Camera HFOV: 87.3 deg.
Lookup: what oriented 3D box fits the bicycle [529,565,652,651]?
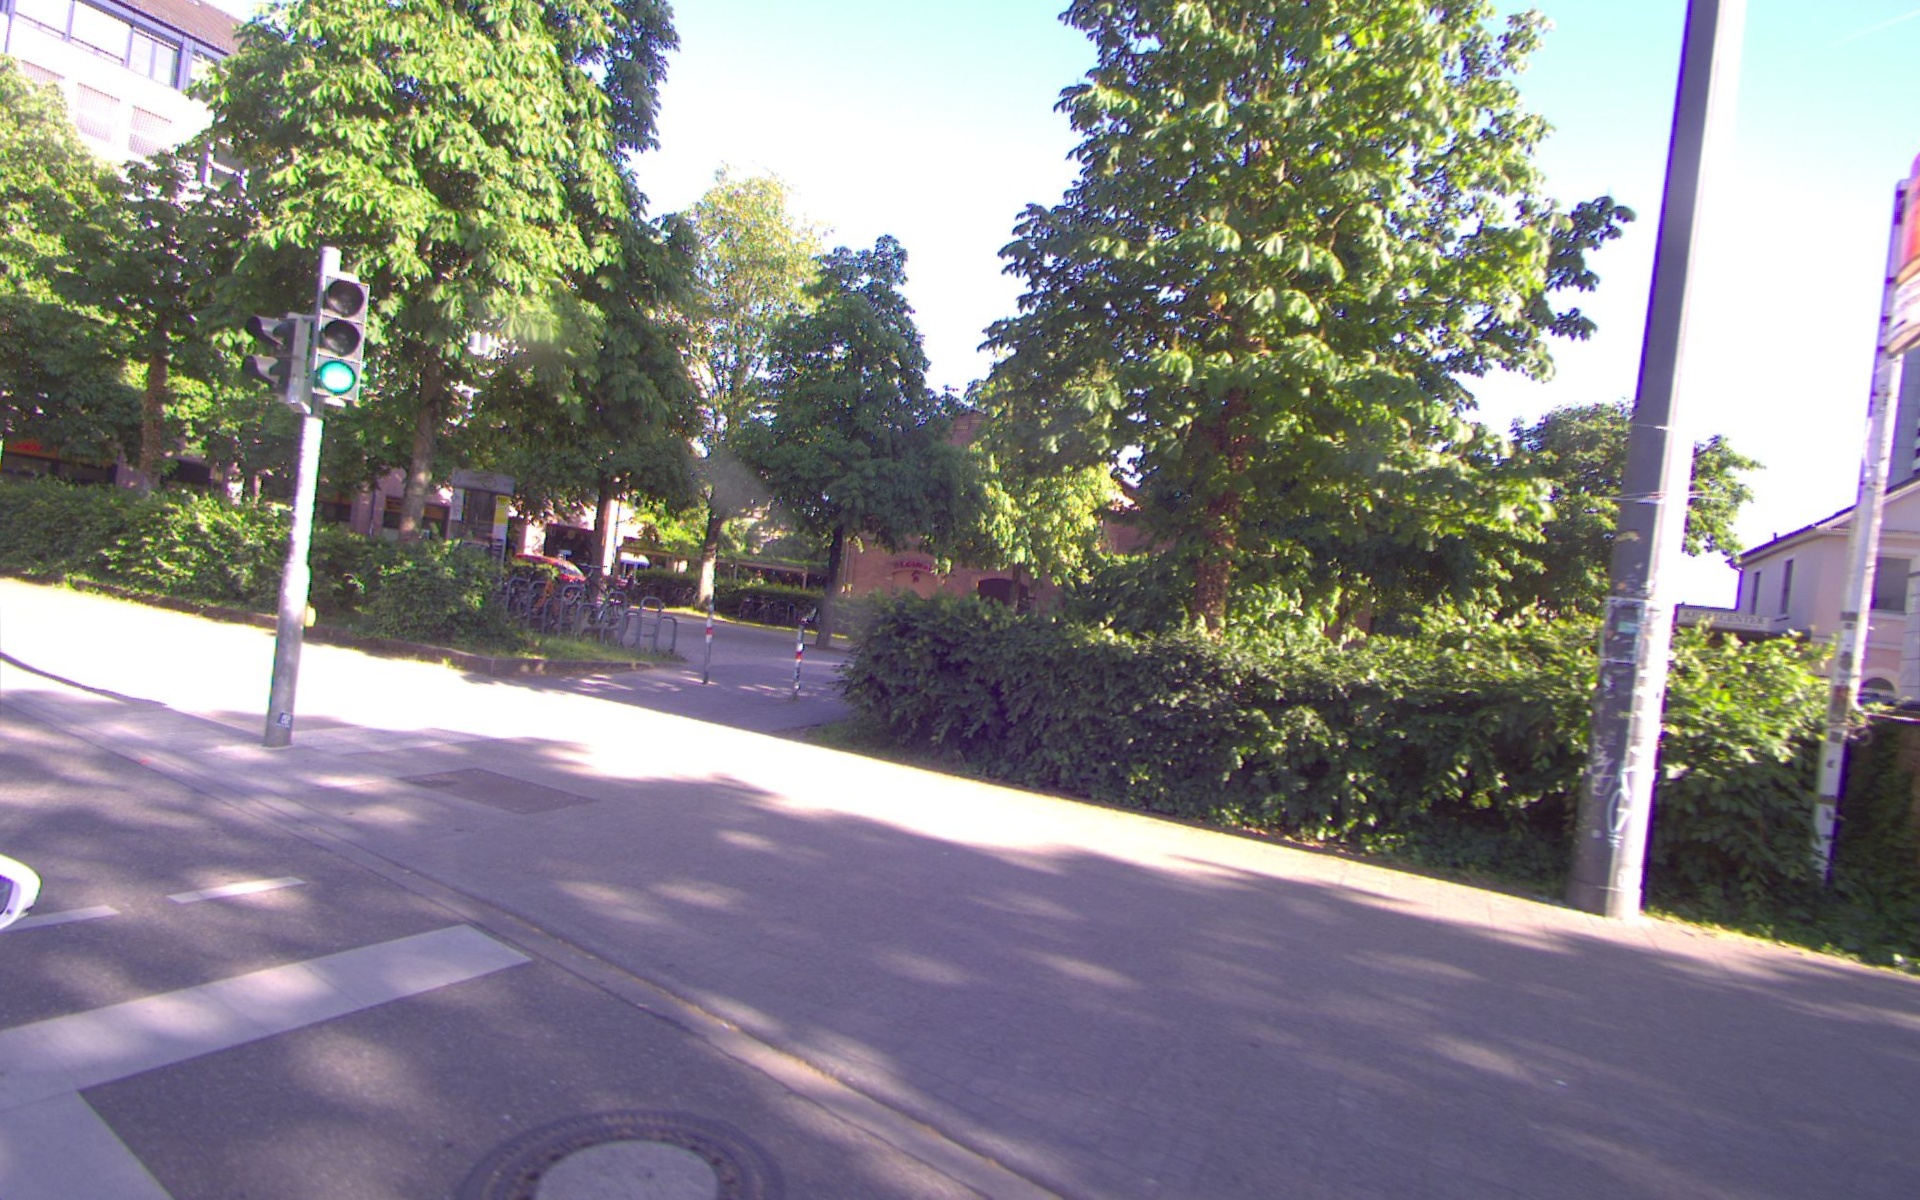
[{"bbox_3d":[-6.335,0.163,17.344,0.564,1.331,1.999,7,0,29],"label":"bicycle"}]

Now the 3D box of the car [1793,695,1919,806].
[{"bbox_3d":[16.906,2.730,18.441,1.566,1.691,3.618,7,-1,27],"label":"car"}]

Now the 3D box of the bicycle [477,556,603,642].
[{"bbox_3d":[-7.286,0.018,17.566,0.564,1.331,1.999,7,0,29],"label":"bicycle"}]

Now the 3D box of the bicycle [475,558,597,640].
[{"bbox_3d":[-7.629,0.015,18.199,0.564,1.331,1.999,7,0,29],"label":"bicycle"}]
